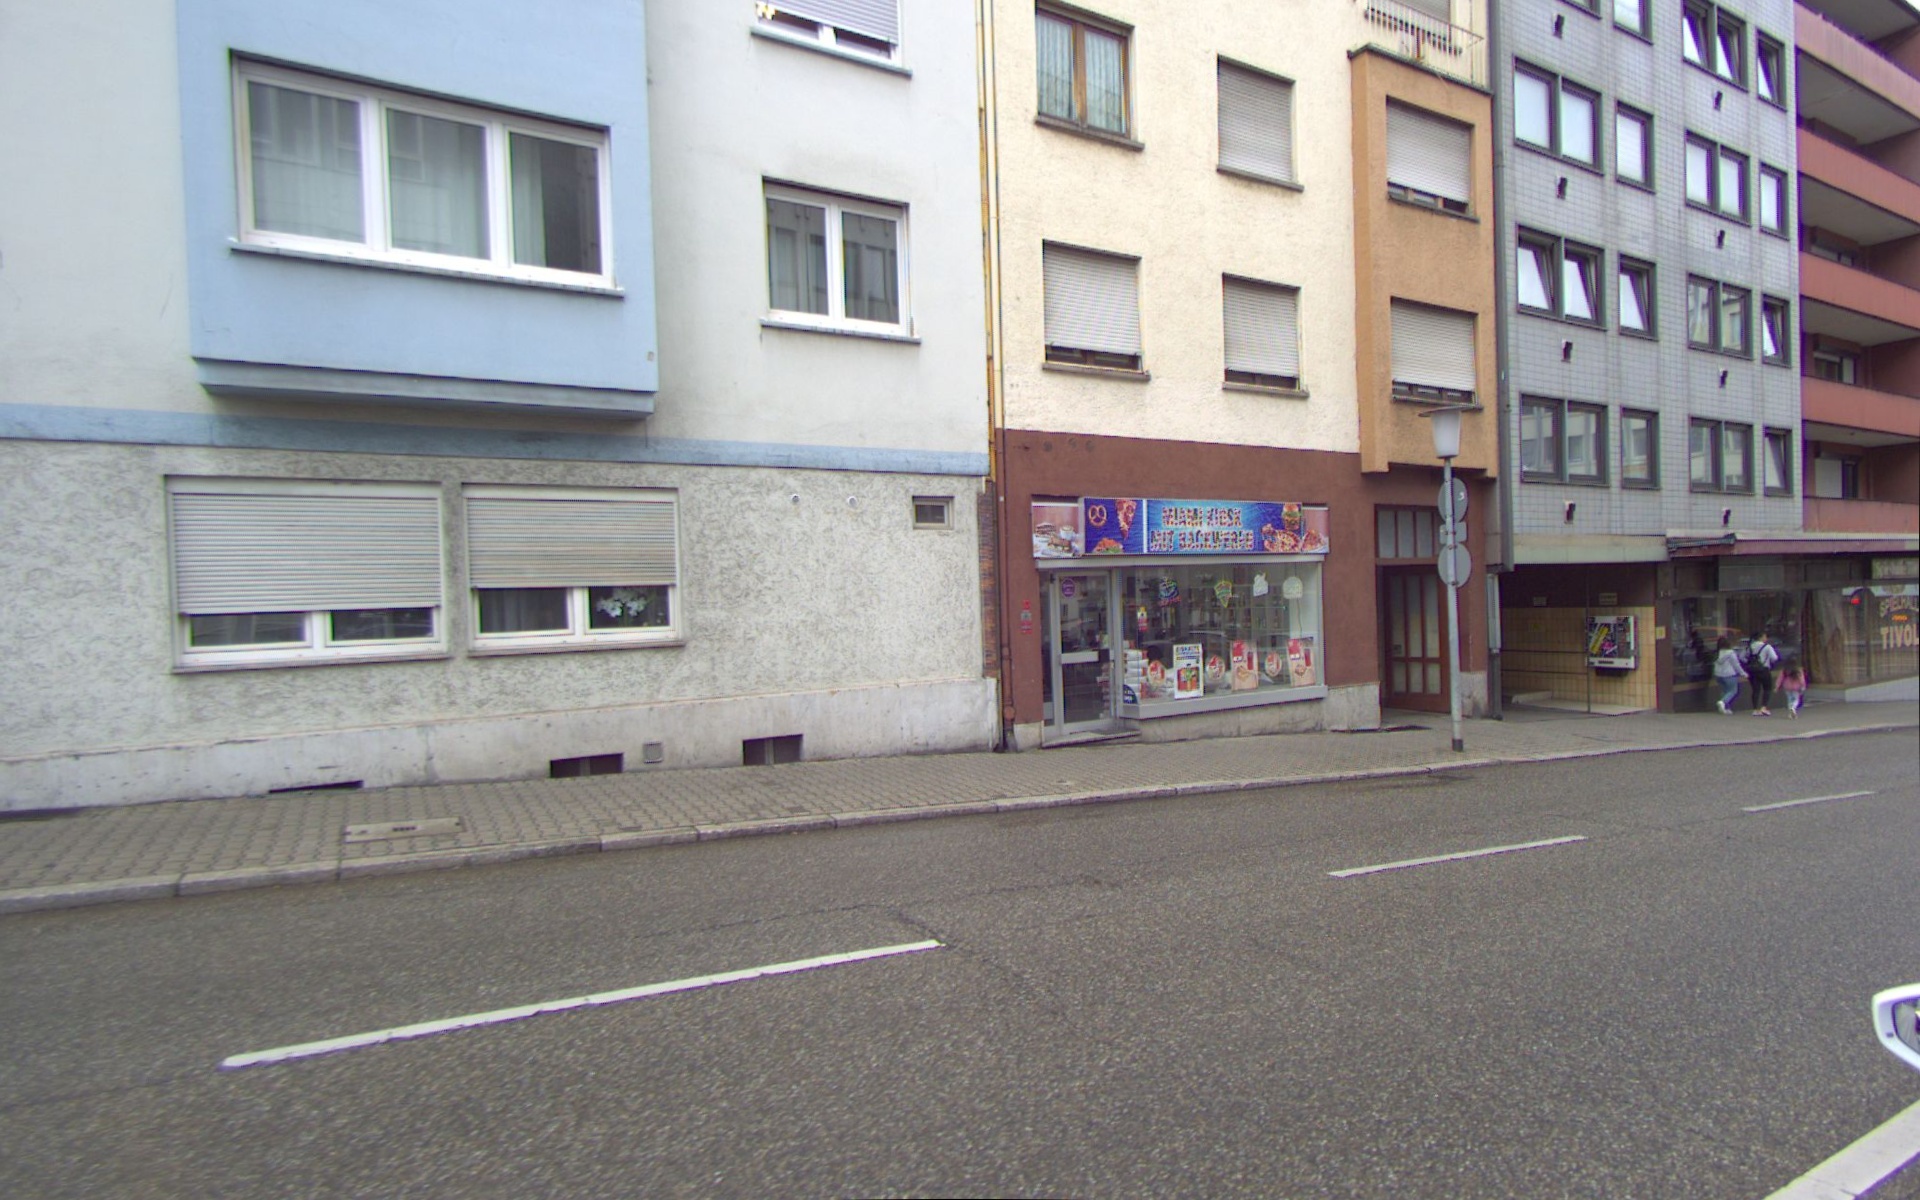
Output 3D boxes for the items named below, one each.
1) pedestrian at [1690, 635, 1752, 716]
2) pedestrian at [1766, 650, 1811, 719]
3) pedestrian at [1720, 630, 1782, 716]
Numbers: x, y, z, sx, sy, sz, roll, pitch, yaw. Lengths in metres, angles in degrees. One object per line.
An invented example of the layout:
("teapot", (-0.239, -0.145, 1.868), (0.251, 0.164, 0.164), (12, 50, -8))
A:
("pedestrian", (15.743, 1.536, 20.794), (0.717, 1.581, 0.821), (1, 1, -38))
("pedestrian", (16.822, 1.696, 20.401), (0.717, 1.341, 0.529), (1, 1, -38))
("pedestrian", (16.508, 1.502, 20.969), (0.717, 1.712, 0.821), (1, 1, -38))
